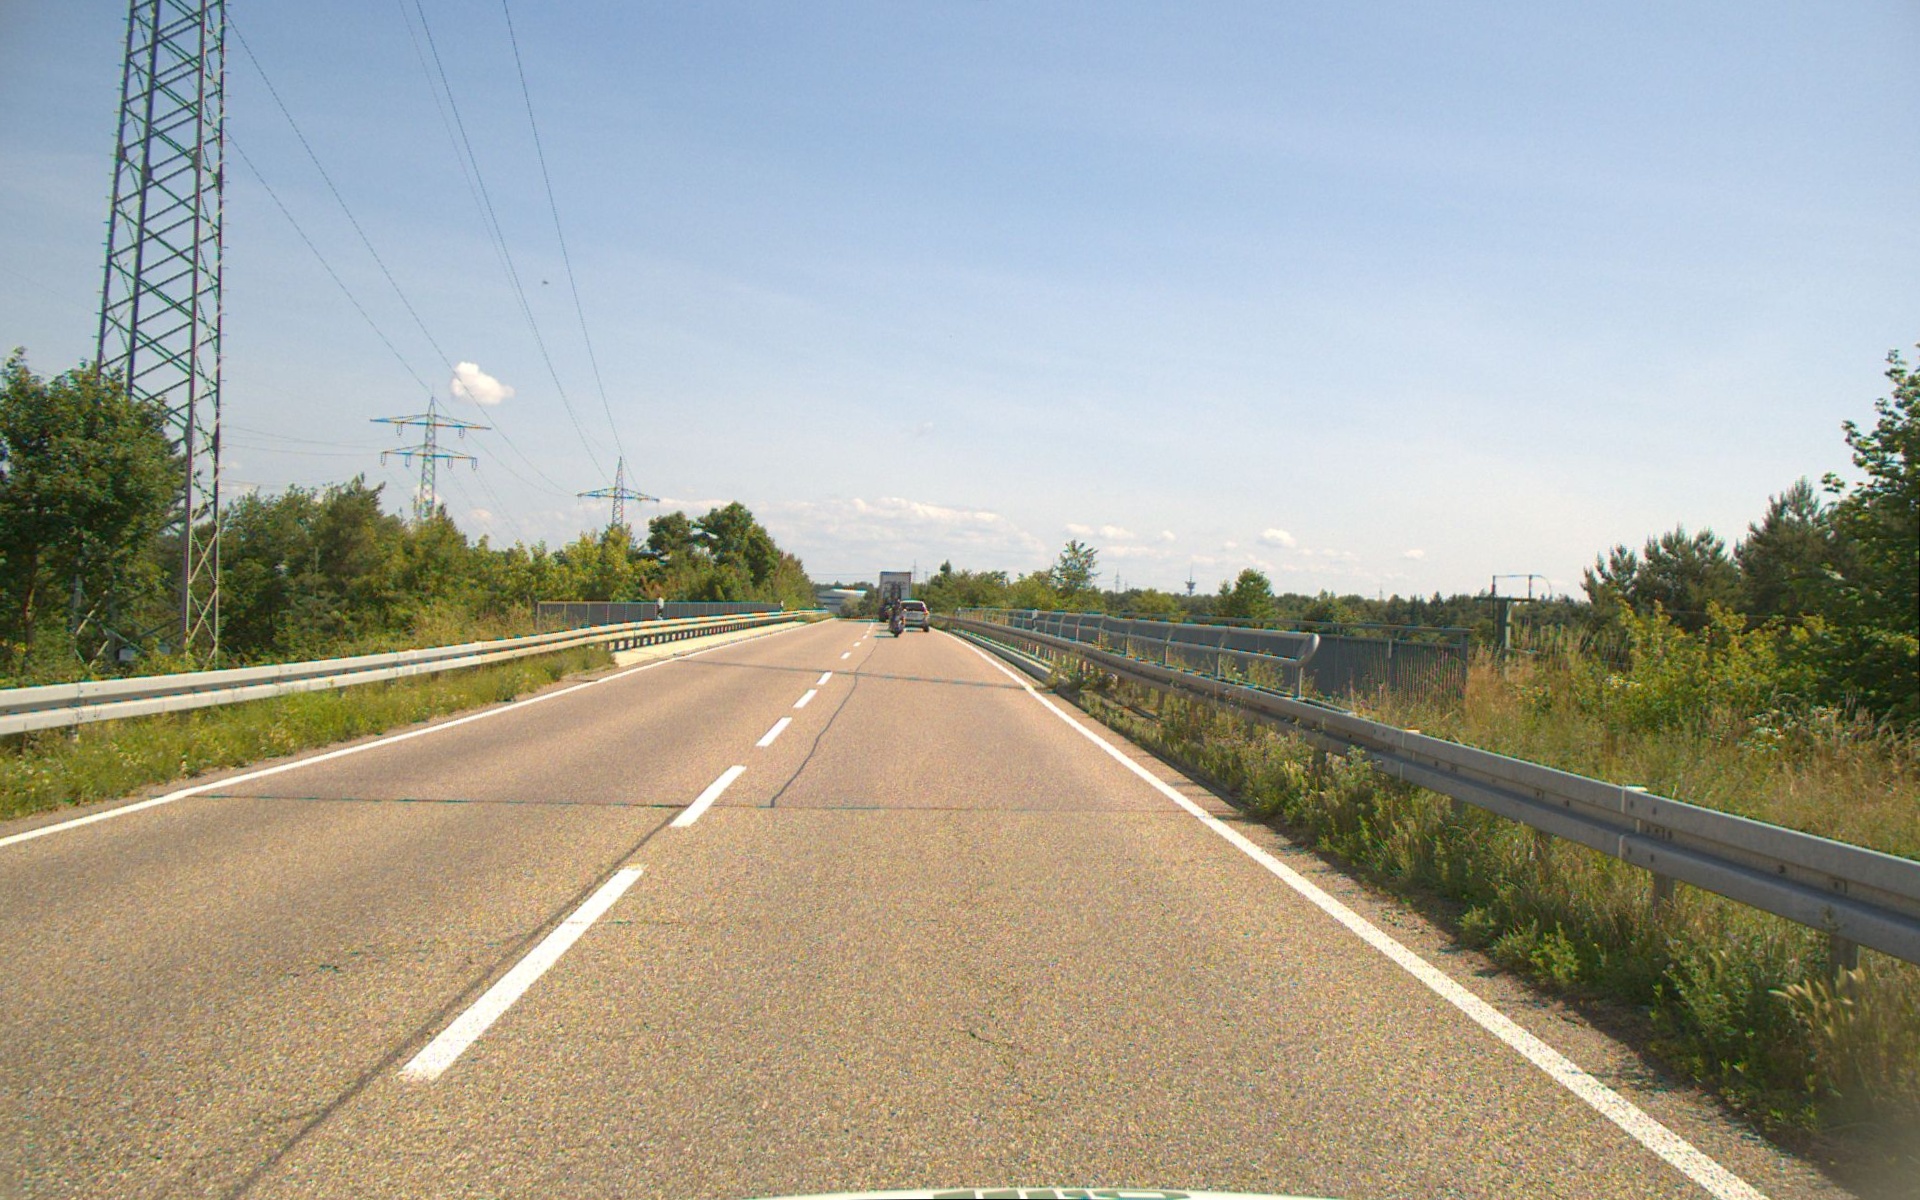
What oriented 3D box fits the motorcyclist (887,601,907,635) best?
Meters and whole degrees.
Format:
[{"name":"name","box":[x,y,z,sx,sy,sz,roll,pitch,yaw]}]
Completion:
[{"name":"motorcyclist","box":[-2.567,0.728,67.858,0.764,1.349,0.813,2,0,-1]}]

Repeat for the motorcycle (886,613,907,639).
[{"name":"motorcycle","box":[-2.586,1.041,67.838,0.764,0.992,2.361,2,0,-1]}]

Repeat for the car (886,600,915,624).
[{"name":"car","box":[-3.985,0.803,111.982,1.828,1.445,3.999,2,0,-1]}]

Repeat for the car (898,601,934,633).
[{"name":"car","box":[-2.249,0.856,85.421,1.788,1.477,3.999,2,0,-1]}]

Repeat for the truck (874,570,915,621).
[{"name":"truck","box":[-5.423,-0.396,139.099,3.176,4.048,9.440,2,0,-2]}]
